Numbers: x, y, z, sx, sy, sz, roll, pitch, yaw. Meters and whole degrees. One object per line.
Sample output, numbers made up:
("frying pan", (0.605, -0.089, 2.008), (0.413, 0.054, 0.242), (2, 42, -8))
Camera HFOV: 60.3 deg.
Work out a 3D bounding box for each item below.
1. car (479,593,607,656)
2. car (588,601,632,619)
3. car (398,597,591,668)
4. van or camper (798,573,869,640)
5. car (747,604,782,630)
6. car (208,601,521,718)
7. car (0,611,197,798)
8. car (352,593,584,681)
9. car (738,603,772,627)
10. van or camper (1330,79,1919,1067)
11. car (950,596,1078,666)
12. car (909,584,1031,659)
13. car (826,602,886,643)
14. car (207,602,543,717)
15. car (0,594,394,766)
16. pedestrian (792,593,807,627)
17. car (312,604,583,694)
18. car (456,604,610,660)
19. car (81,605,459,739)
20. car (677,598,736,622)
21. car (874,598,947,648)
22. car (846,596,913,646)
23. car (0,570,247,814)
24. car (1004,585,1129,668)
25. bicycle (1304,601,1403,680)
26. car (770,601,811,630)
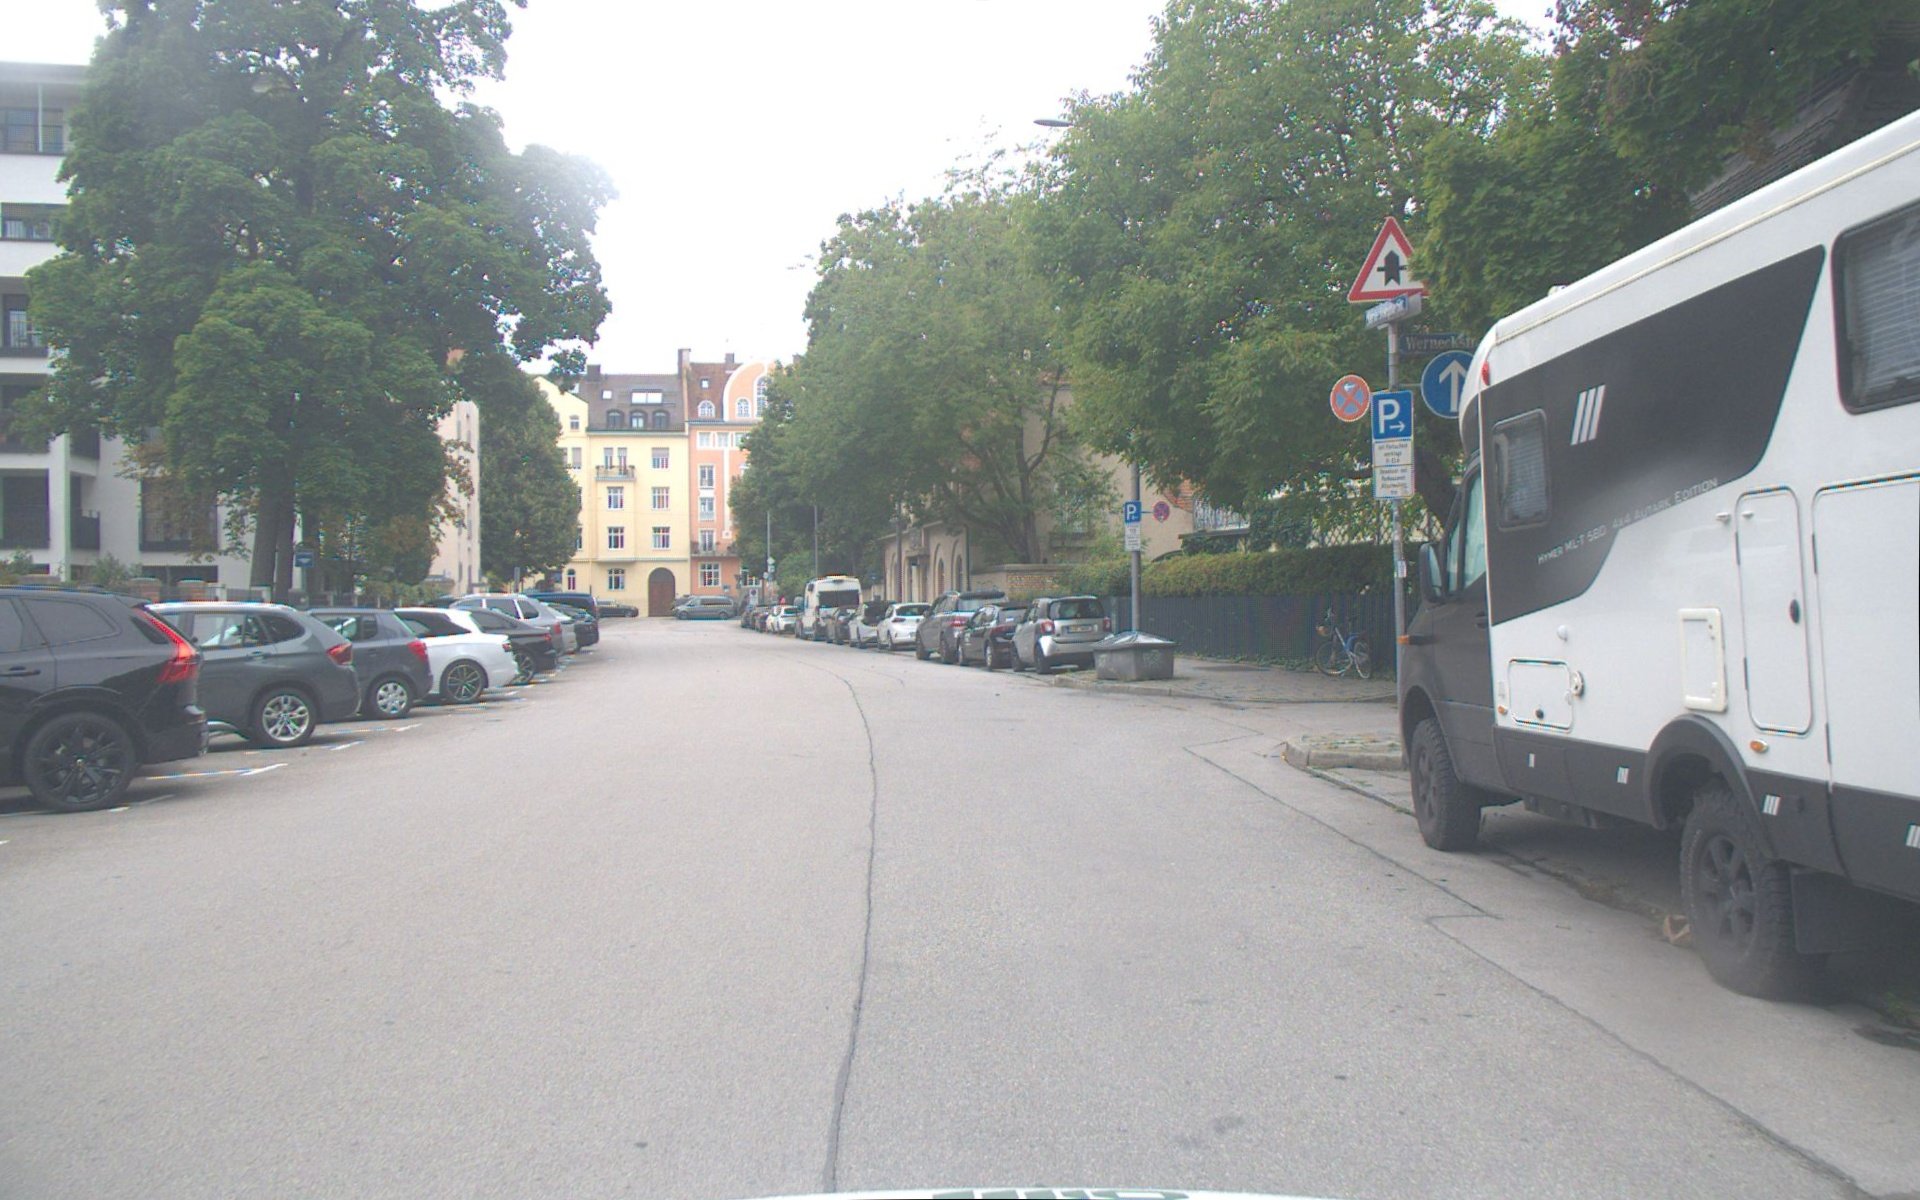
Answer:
("car", (-15.167, 0.870, 60.240), (4.180, 2.102, 1.711), (-3, 0, -41))
("car", (-32.977, 0.906, 155.943), (3.915, 1.614, 1.699), (-1, 0, -11))
("car", (-11.884, 0.806, 42.288), (4.357, 1.649, 2.063), (-1, 0, -33))
("van or camper", (-5.362, 0.265, 69.387), (2.154, 2.594, 5.711), (-2, 0, -12))
("car", (-12.011, 1.032, 101.645), (1.642, 1.367, 3.824), (-2, 2, -14))
("car", (-9.753, 0.927, 27.223), (4.467, 1.536, 1.907), (-4, 1, -36))
("car", (-9.116, 0.965, 14.454), (4.272, 1.497, 1.802), (-3, 1, -30))
("car", (-10.655, 0.772, 36.024), (4.379, 1.728, 2.102), (-1, 0, -44))
("car", (-13.204, 0.955, 106.409), (1.642, 1.367, 3.824), (-2, 2, -14))
("van or camper", (3.854, -0.101, 7.825), (2.227, 2.957, 7.272), (-1, 0, -3))
("car", (1.171, 0.678, 38.116), (1.845, 1.452, 4.207), (-3, 0, -14))
("car", (0.184, 0.529, 42.640), (1.960, 1.741, 4.867), (-3, 0, -14))
("car", (-3.979, 0.828, 62.679), (1.677, 1.393, 4.428), (-2, 0, -11))
("car", (-8.799, 0.837, 25.034), (4.466, 1.476, 1.873), (-2, 0, -36))
("car", (-8.548, 0.786, 17.568), (4.472, 1.595, 1.868), (-1, 0, -34))
("pedestrian", (-9.663, 0.598, 99.564), (0.759, 2.049, 0.561), (-1, 0, -13))
("car", (-9.395, 0.863, 30.500), (4.376, 1.464, 1.935), (-1, 0, -43))
("car", (-12.903, 0.955, 50.132), (4.183, 1.487, 1.710), (-3, 1, -42))
("car", (-8.985, 0.867, 21.673), (4.341, 1.476, 1.638), (-2, 1, -33))
("car", (-20.777, 0.790, 135.574), (4.623, 1.913, 1.834), (0, 0, -14))
("car", (-1.606, 0.715, 52.037), (1.655, 1.466, 3.989), (-2, 0, -11))
("car", (-2.809, 0.694, 57.022), (1.677, 1.564, 4.229), (-3, 0, -11))
("car", (-7.866, 0.724, 12.287), (4.468, 1.694, 1.966), (-2, 0, -32))
("car", (2.149, 0.548, 34.104), (1.710, 1.563, 2.935), (-3, 0, -14))
("bicycle", (6.308, 0.629, 26.646), (0.792, 1.182, 1.967), (-1, 0, -11))
("car", (-8.965, 0.813, 87.334), (1.677, 1.432, 4.117), (-2, 0, -12))
